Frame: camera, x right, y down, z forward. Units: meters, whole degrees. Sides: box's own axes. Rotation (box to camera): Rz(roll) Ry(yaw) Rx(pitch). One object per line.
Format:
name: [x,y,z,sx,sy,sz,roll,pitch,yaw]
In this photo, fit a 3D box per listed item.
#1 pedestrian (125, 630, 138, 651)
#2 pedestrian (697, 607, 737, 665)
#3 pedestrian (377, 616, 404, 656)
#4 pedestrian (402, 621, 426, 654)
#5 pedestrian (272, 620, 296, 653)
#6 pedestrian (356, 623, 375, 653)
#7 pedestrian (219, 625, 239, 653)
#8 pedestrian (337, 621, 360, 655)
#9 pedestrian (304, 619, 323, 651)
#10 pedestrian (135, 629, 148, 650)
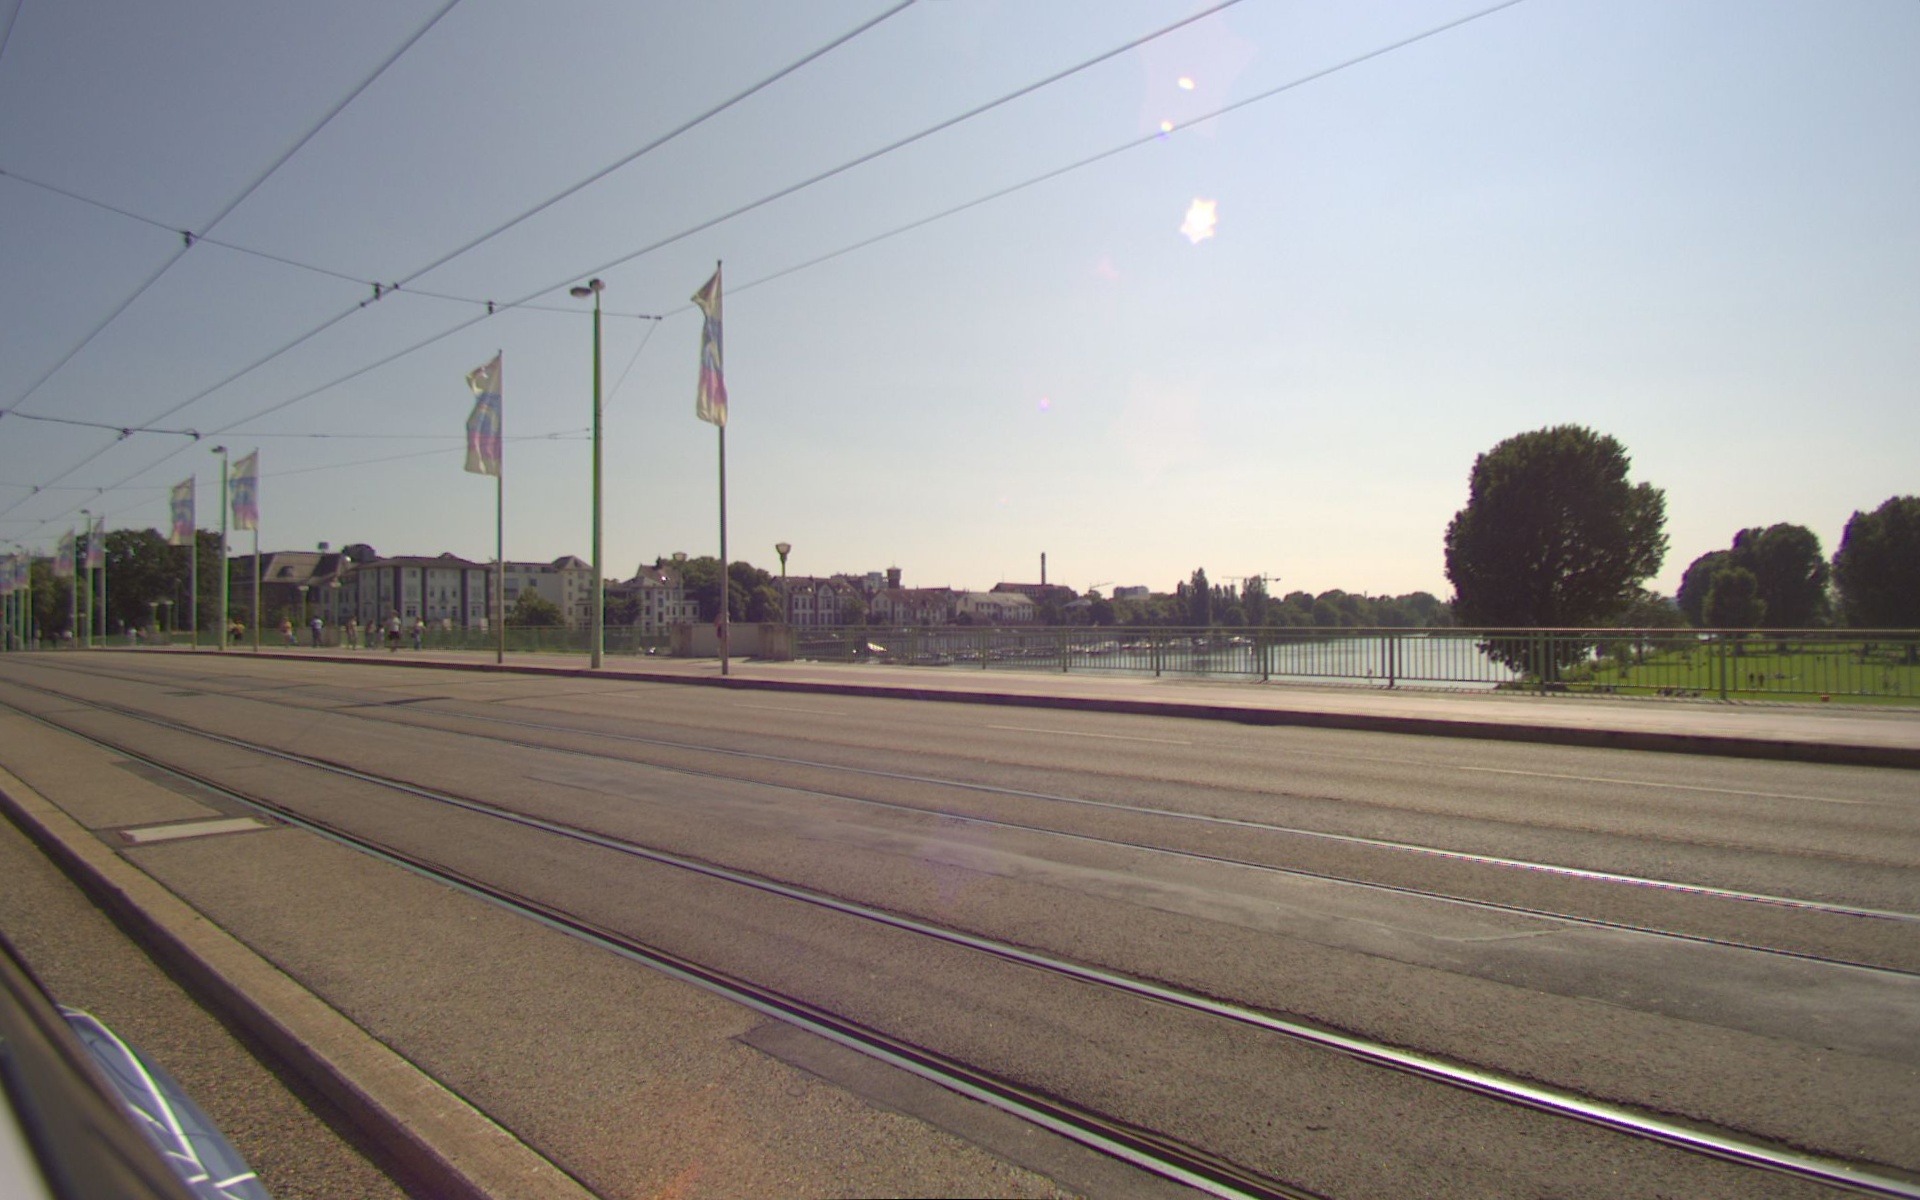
pedestrian: [-68.997,3.363,84.294,1.022,1.712,0.584,-2,3,41]
pedestrian: [-7.418,1.089,30.904,1.022,1.703,0.677,-2,0,41]
pedestrian: [-24.996,1.572,44.398,1.022,1.712,0.663,-2,0,41]
pedestrian: [-24.423,1.670,45.297,1.022,1.425,0.584,-2,0,41]
pedestrian: [-36.729,1.971,55.007,1.022,1.712,0.777,-2,1,41]
pedestrian: [-29.065,1.855,49.498,0.788,1.448,0.540,-2,0,41]
pedestrian: [-45.761,2.411,63.358,1.022,1.712,0.777,-2,1,41]
pedestrian: [-29.613,1.815,48.984,1.022,1.611,0.620,-2,0,41]
pedestrian: [-35.156,1.899,55.012,1.022,1.712,0.584,-2,0,41]
pedestrian: [-68.560,3.275,84.793,0.904,1.712,0.584,-2,3,41]
